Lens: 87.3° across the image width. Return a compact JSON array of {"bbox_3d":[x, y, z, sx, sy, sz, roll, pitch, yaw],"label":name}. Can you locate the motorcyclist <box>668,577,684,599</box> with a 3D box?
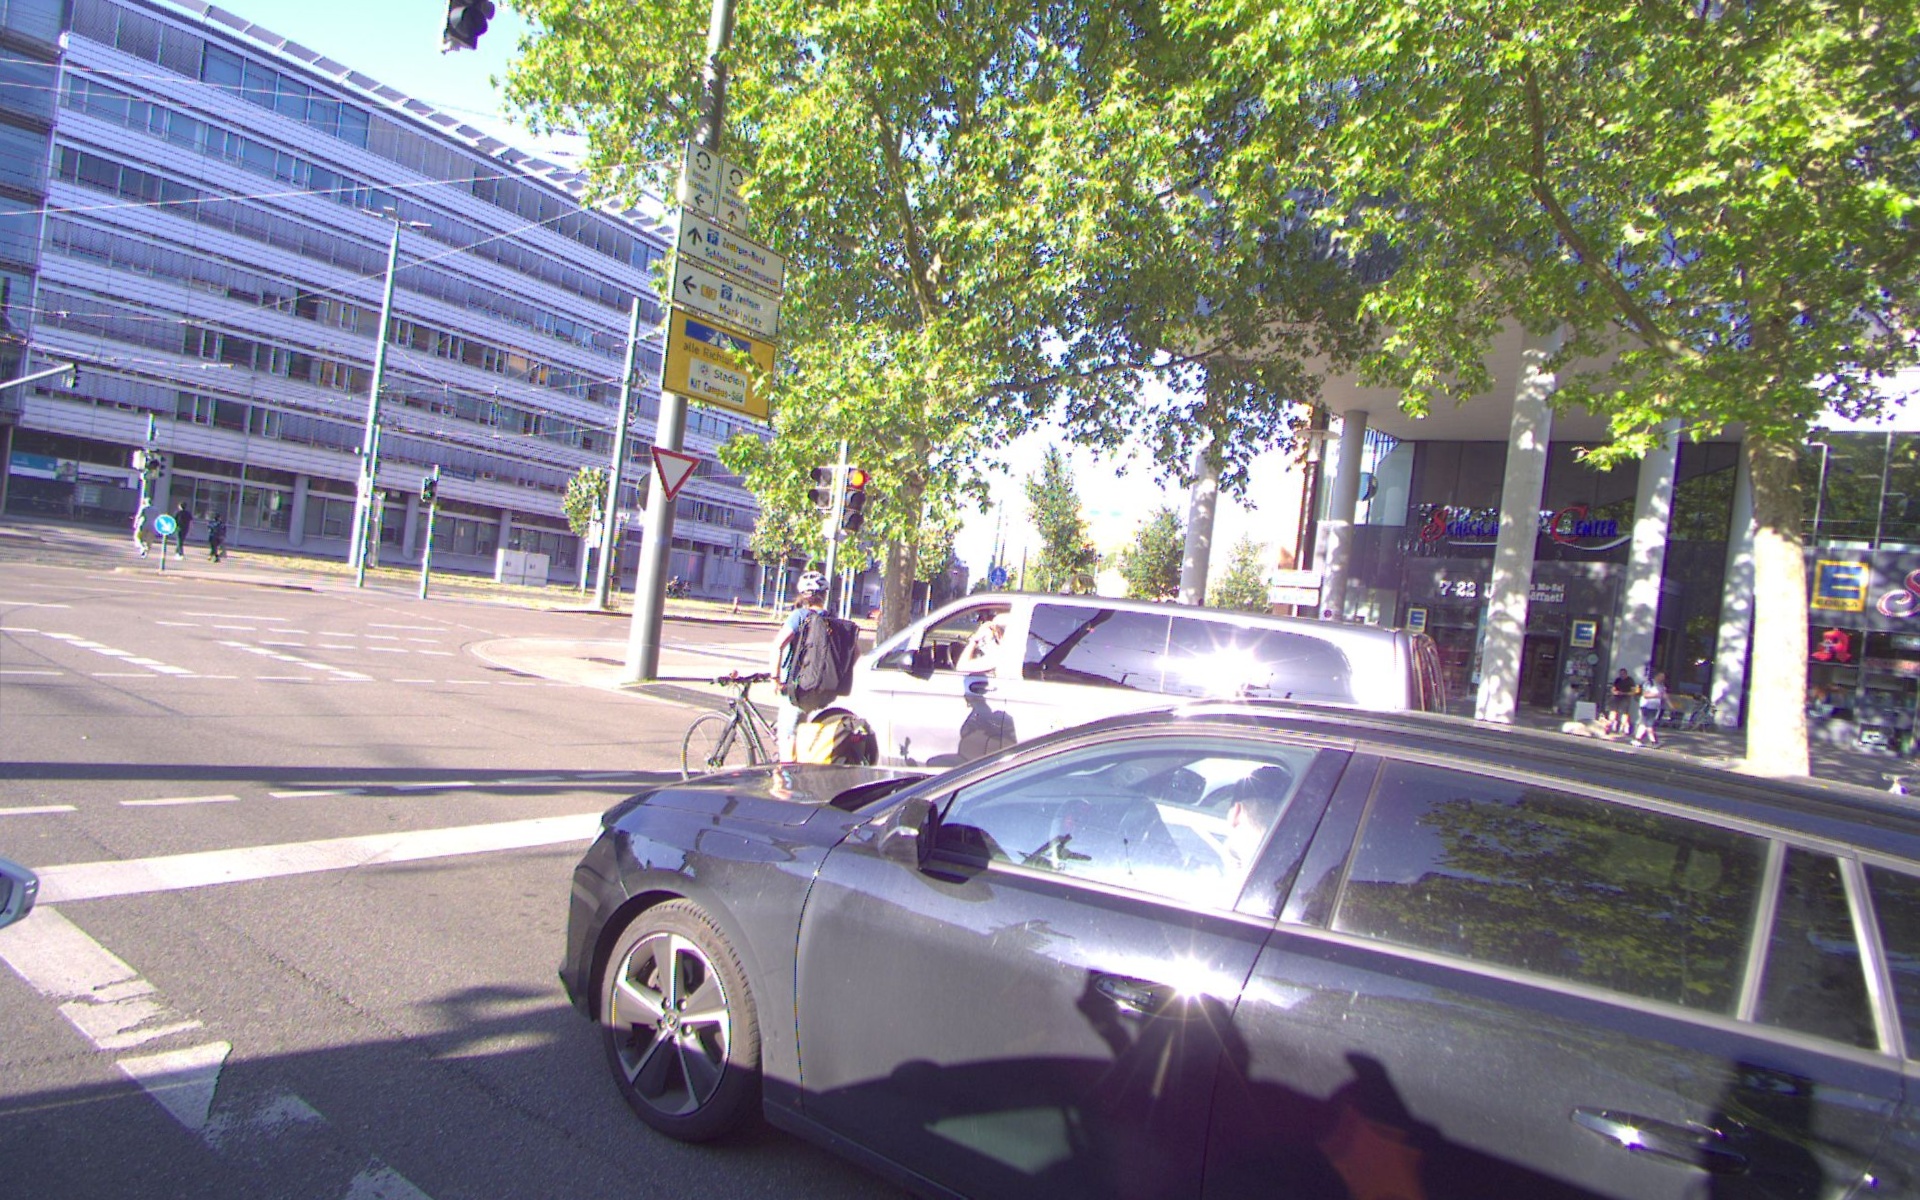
[{"bbox_3d":[-17.841,-0.775,63.251,0.452,1.291,0.712,7,1,36],"label":"motorcyclist"}]

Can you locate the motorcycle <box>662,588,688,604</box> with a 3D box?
[{"bbox_3d":[-17.921,-0.248,63.232,0.460,0.820,1.568,7,0,36],"label":"motorcycle"}]

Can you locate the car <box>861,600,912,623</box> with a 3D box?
[{"bbox_3d":[-5.741,0.921,78.874,1.758,1.411,3.984,7,1,37],"label":"car"}]

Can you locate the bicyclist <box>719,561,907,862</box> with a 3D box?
[{"bbox_3d":[-0.923,0.669,6.348,0.766,1.714,0.632,7,1,32],"label":"bicyclist"}]

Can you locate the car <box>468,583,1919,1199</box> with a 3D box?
[{"bbox_3d":[0.794,0.950,2.733,4.199,1.431,1.742,7,-2,32],"label":"car"}]

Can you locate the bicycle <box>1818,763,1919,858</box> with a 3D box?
[{"bbox_3d":[11.196,2.544,12.083,0.437,0.930,1.210,6,0,-39],"label":"bicycle"}]

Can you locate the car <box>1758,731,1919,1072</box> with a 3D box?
[{"bbox_3d":[6.544,1.731,4.612,4.181,1.503,1.741,7,0,31],"label":"car"}]

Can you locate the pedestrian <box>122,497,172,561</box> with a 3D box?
[{"bbox_3d":[-24.986,-2.175,30.917,0.857,1.811,0.864,7,1,34],"label":"pedestrian"}]

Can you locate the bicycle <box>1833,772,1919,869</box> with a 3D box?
[{"bbox_3d":[10.537,2.477,11.097,1.233,0.898,0.462,7,1,32],"label":"bicycle"}]

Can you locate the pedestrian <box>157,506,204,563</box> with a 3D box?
[{"bbox_3d":[-25.656,-2.149,33.111,1.020,1.706,0.912,7,1,39],"label":"pedestrian"}]

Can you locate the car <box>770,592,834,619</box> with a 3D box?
[{"bbox_3d":[-10.613,0.386,67.810,1.758,1.415,4.157,7,0,37],"label":"car"}]

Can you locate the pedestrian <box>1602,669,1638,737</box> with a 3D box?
[{"bbox_3d":[17.544,2.740,26.740,0.598,1.707,0.511,6,1,-41],"label":"pedestrian"}]

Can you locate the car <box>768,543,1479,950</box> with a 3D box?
[{"bbox_3d":[1.118,0.842,7.942,5.012,2.004,1.939,7,0,31],"label":"car"}]

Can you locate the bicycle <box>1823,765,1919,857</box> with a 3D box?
[{"bbox_3d":[11.494,2.606,12.356,0.460,0.938,1.210,6,0,-39],"label":"bicycle"}]

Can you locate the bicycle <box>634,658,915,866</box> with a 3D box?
[{"bbox_3d":[-1.260,1.002,6.641,1.839,0.993,0.561,7,1,32],"label":"bicycle"}]

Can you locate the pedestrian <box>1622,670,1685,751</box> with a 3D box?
[{"bbox_3d":[16.631,2.638,24.139,0.595,1.805,0.881,6,1,-26],"label":"pedestrian"}]

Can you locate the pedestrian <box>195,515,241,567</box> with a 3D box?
[{"bbox_3d":[-24.976,-1.997,33.874,0.883,1.583,0.947,7,1,39],"label":"pedestrian"}]
